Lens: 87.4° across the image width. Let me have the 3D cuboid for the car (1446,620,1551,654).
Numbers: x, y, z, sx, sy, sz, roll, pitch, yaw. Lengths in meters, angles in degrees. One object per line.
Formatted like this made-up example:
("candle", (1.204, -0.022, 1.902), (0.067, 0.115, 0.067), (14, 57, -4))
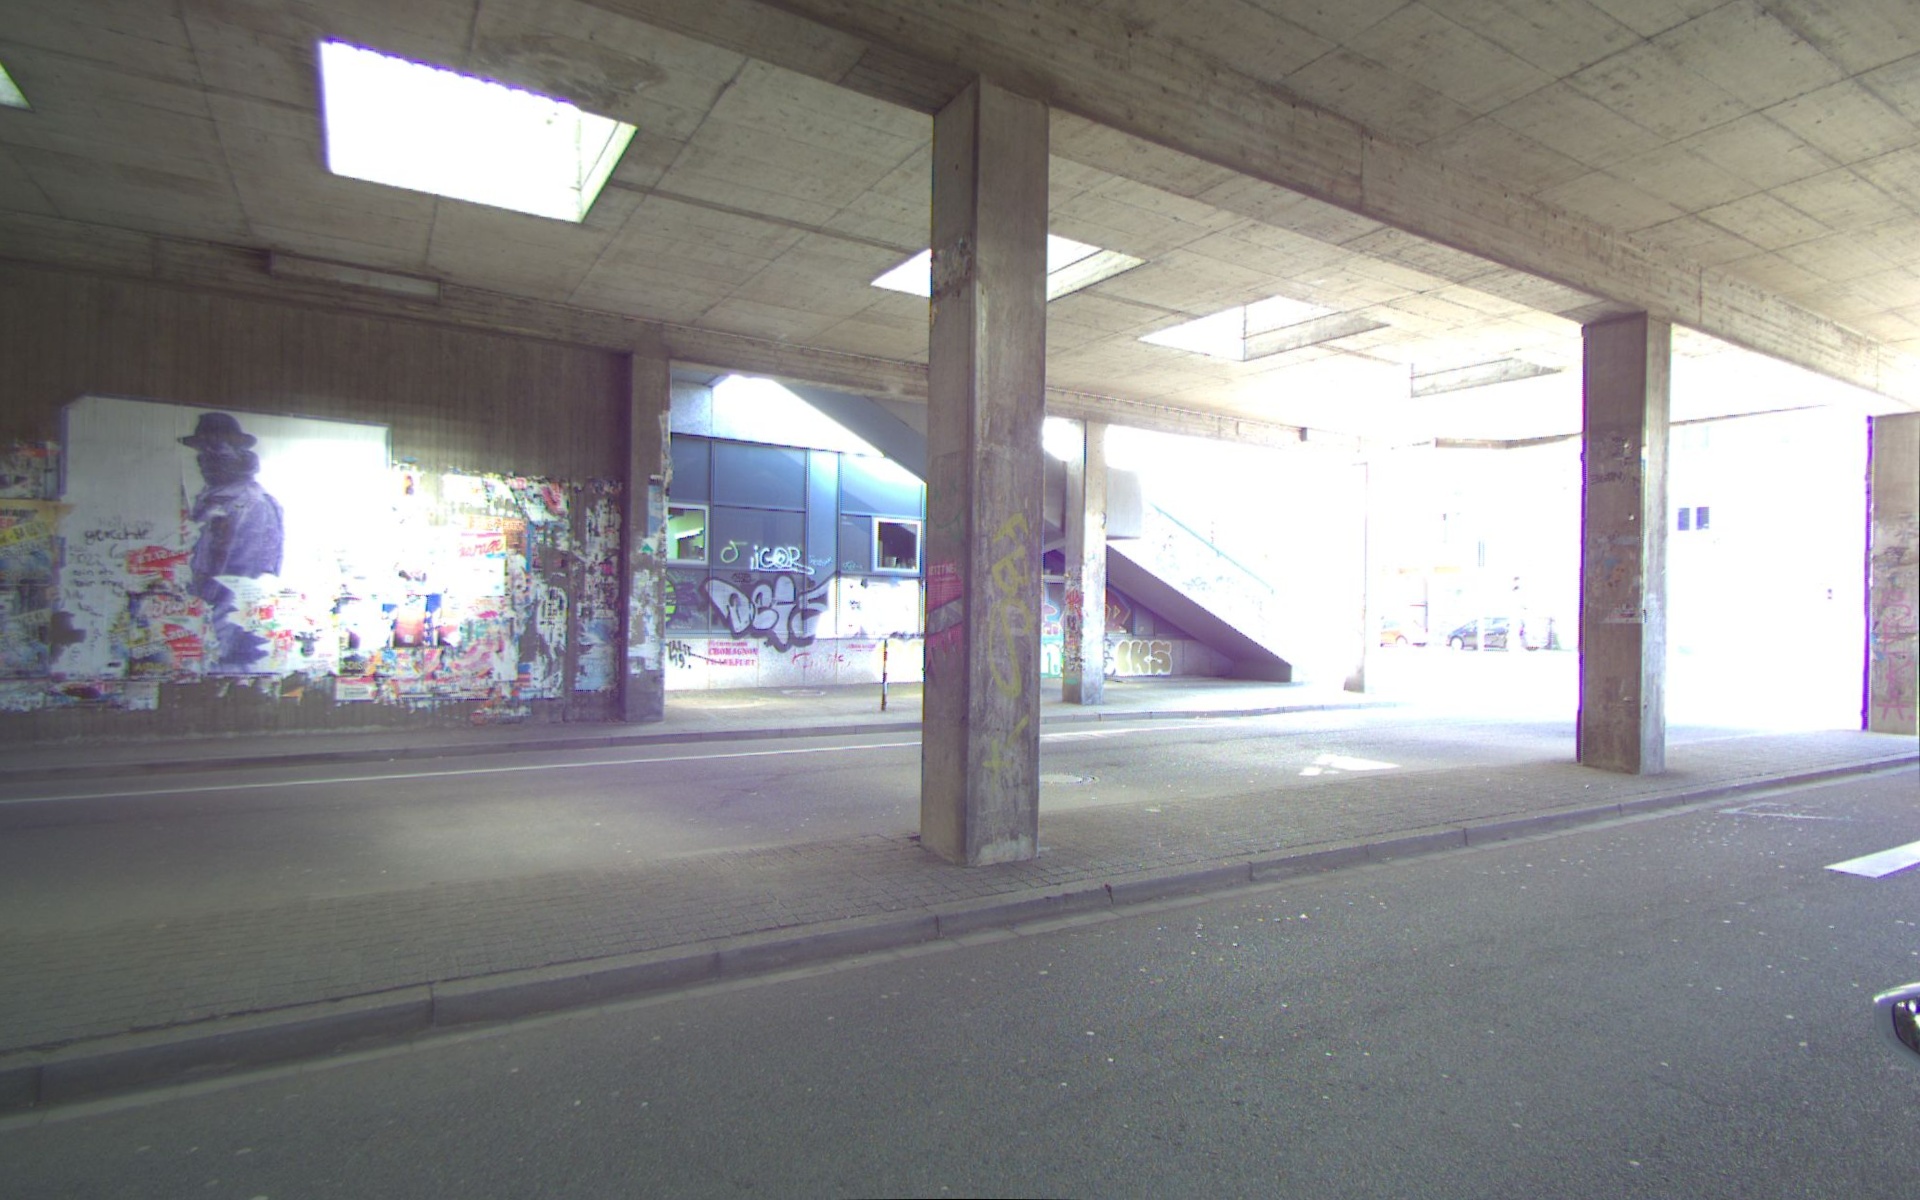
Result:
("car", (25.476, 1.730, 47.653), (1.718, 1.495, 4.089), (2, -1, -31))

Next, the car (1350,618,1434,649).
("car", (22.564, 1.754, 52.608), (1.730, 1.495, 3.741), (2, -1, -31))
